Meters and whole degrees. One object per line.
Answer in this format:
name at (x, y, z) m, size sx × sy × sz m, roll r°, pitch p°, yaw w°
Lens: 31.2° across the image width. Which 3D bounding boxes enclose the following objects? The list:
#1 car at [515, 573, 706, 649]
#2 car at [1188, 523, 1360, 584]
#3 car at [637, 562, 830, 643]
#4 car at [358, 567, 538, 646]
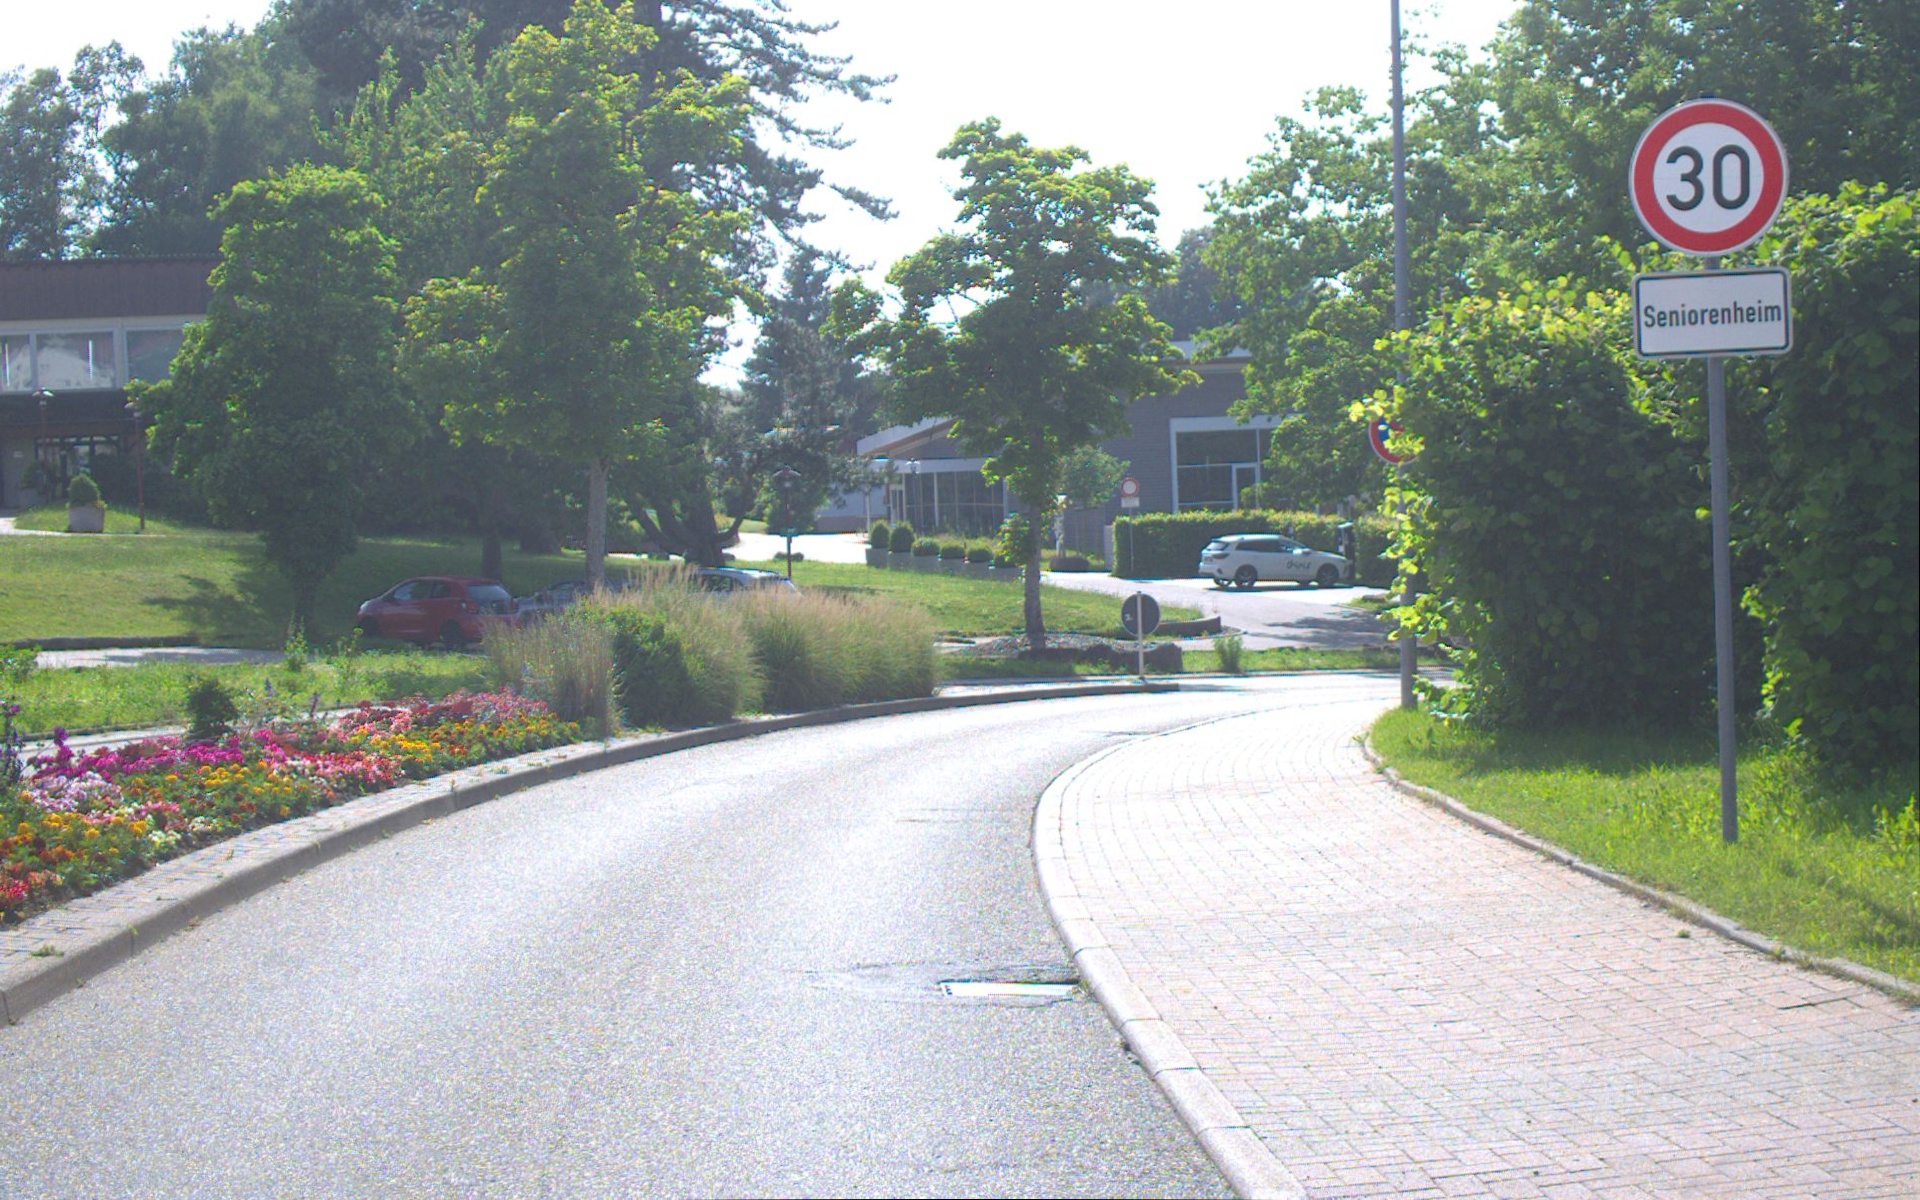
car at (-7.188, 0.213, 70.531) m, size 3.710 × 1.428 × 1.772 m, roll 2°, pitch 1°, yaw 39°
car at (9.422, -1.403, 103.174) m, size 4.714 × 1.528 × 2.001 m, roll -2°, pitch 6°, yaw -18°
car at (-4.872, 0.045, 73.696) m, size 3.937 × 1.604 × 1.772 m, roll 2°, pitch 1°, yaw 39°
car at (-10.163, 0.116, 68.157) m, size 3.204 × 1.465 × 1.772 m, roll 2°, pitch 1°, yaw 37°
